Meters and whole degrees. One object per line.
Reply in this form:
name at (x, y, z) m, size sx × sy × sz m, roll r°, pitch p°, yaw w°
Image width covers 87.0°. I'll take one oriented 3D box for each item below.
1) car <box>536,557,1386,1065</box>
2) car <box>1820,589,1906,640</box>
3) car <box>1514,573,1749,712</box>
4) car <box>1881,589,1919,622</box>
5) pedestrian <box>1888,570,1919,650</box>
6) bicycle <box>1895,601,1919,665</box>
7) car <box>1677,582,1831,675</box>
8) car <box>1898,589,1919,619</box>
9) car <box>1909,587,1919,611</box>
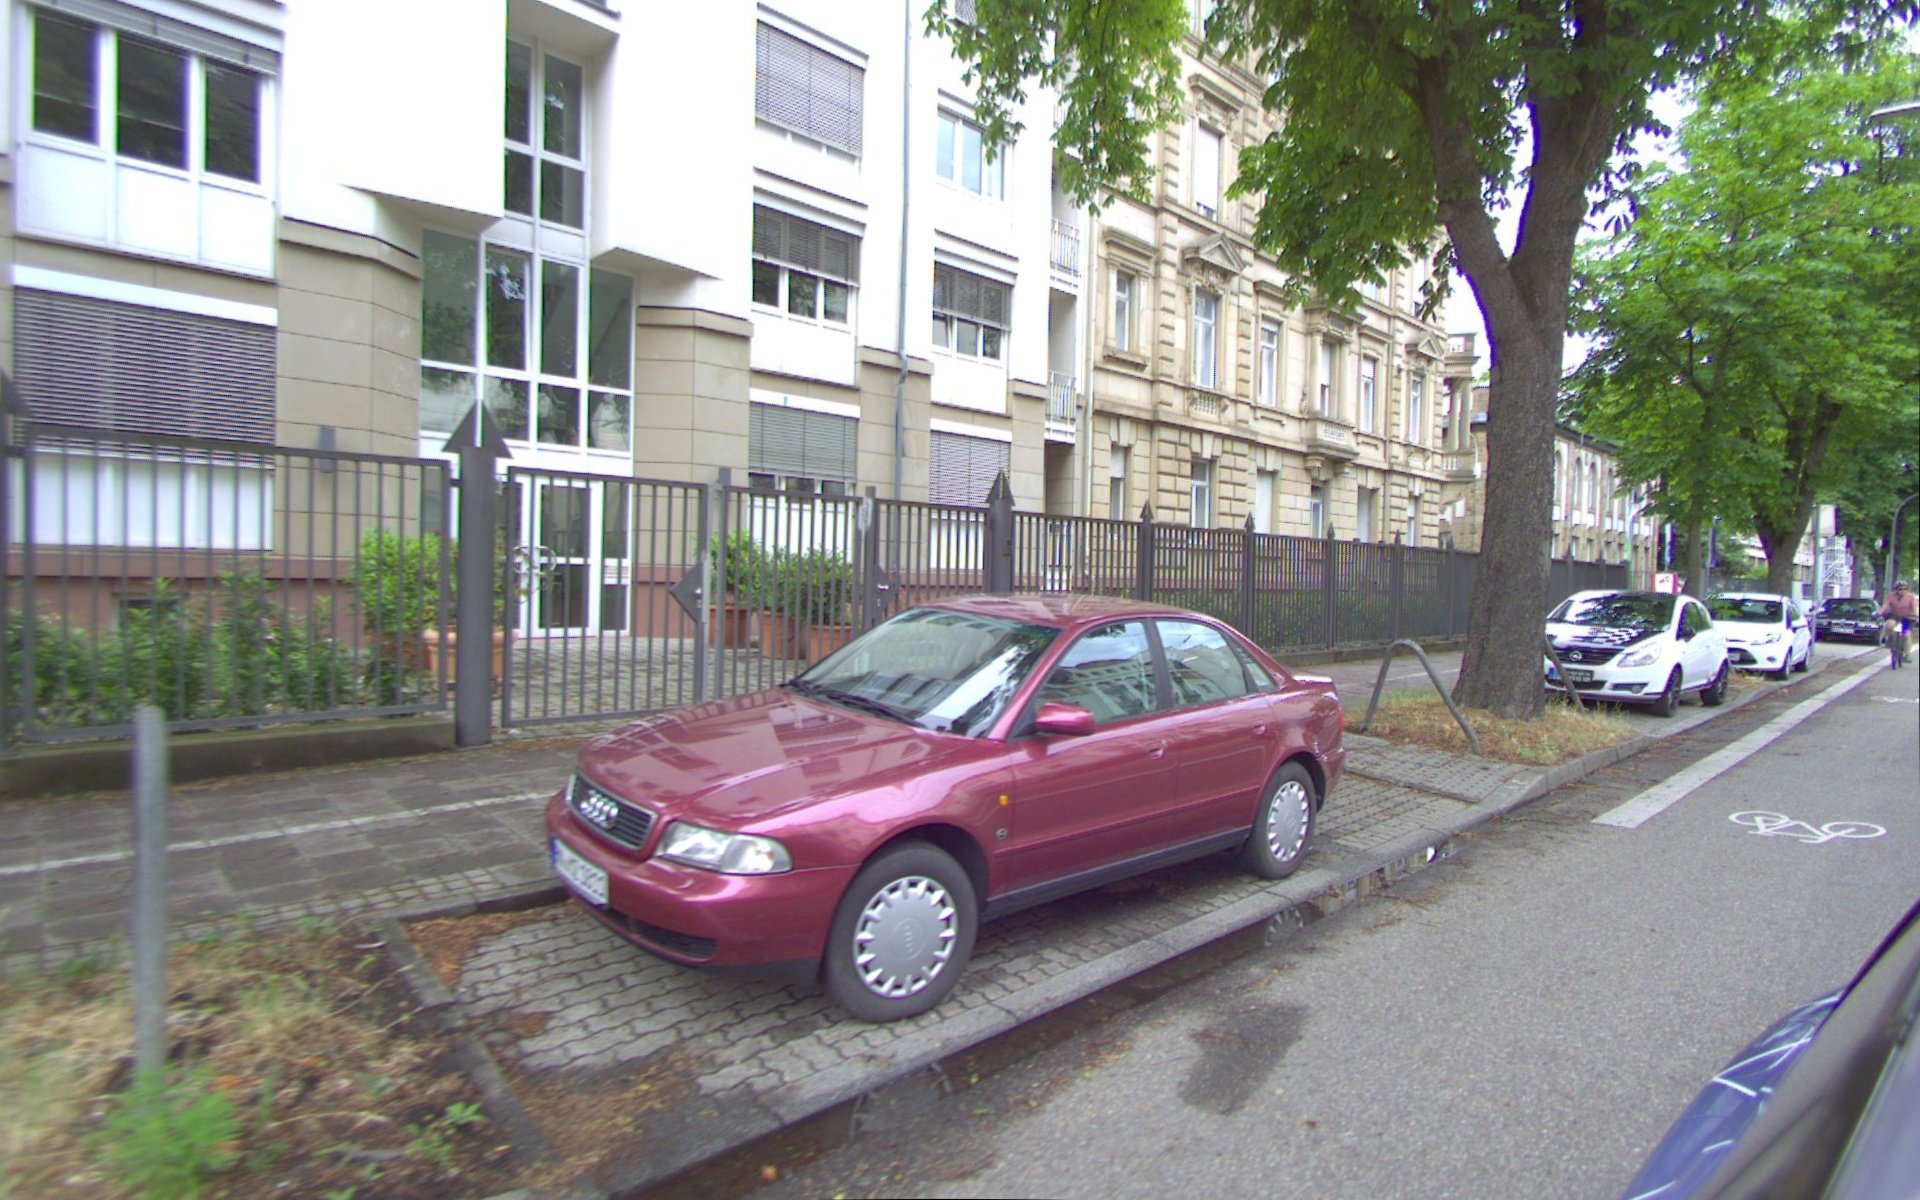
car at (0.344, 0.579, 4.943) m, size 4.156 × 1.415 × 1.605 m, roll 0°, pitch 4°, yaw -43°
car at (27.897, 0.409, 31.231) m, size 3.772 × 1.387 × 1.605 m, roll 0°, pitch 4°, yaw -43°
car at (8.710, 0.443, 13.026) m, size 3.712 × 1.453 × 1.605 m, roll 0°, pitch 4°, yaw -42°
car at (43.751, 0.226, 46.605) m, size 3.772 × 1.387 × 1.605 m, roll 0°, pitch 4°, yaw -43°
pedestrian at (19.110, 0.200, 20.272) m, size 0.692 × 1.569 × 0.683 m, roll 0°, pitch 2°, yaw -43°
bicycle at (19.129, 0.635, 20.294) m, size 1.678 × 1.219 × 0.413 m, roll 0°, pitch 2°, yaw -43°
car at (14.690, 0.451, 18.670) m, size 3.701 × 1.453 × 1.630 m, roll 0°, pitch 4°, yaw -43°
car at (49.047, 0.195, 51.510) m, size 3.772 × 1.442 × 1.605 m, roll 0°, pitch 4°, yaw -43°
car at (57.715, -0.013, 60.140) m, size 3.772 × 1.387 × 1.605 m, roll 0°, pitch 4°, yaw -43°
